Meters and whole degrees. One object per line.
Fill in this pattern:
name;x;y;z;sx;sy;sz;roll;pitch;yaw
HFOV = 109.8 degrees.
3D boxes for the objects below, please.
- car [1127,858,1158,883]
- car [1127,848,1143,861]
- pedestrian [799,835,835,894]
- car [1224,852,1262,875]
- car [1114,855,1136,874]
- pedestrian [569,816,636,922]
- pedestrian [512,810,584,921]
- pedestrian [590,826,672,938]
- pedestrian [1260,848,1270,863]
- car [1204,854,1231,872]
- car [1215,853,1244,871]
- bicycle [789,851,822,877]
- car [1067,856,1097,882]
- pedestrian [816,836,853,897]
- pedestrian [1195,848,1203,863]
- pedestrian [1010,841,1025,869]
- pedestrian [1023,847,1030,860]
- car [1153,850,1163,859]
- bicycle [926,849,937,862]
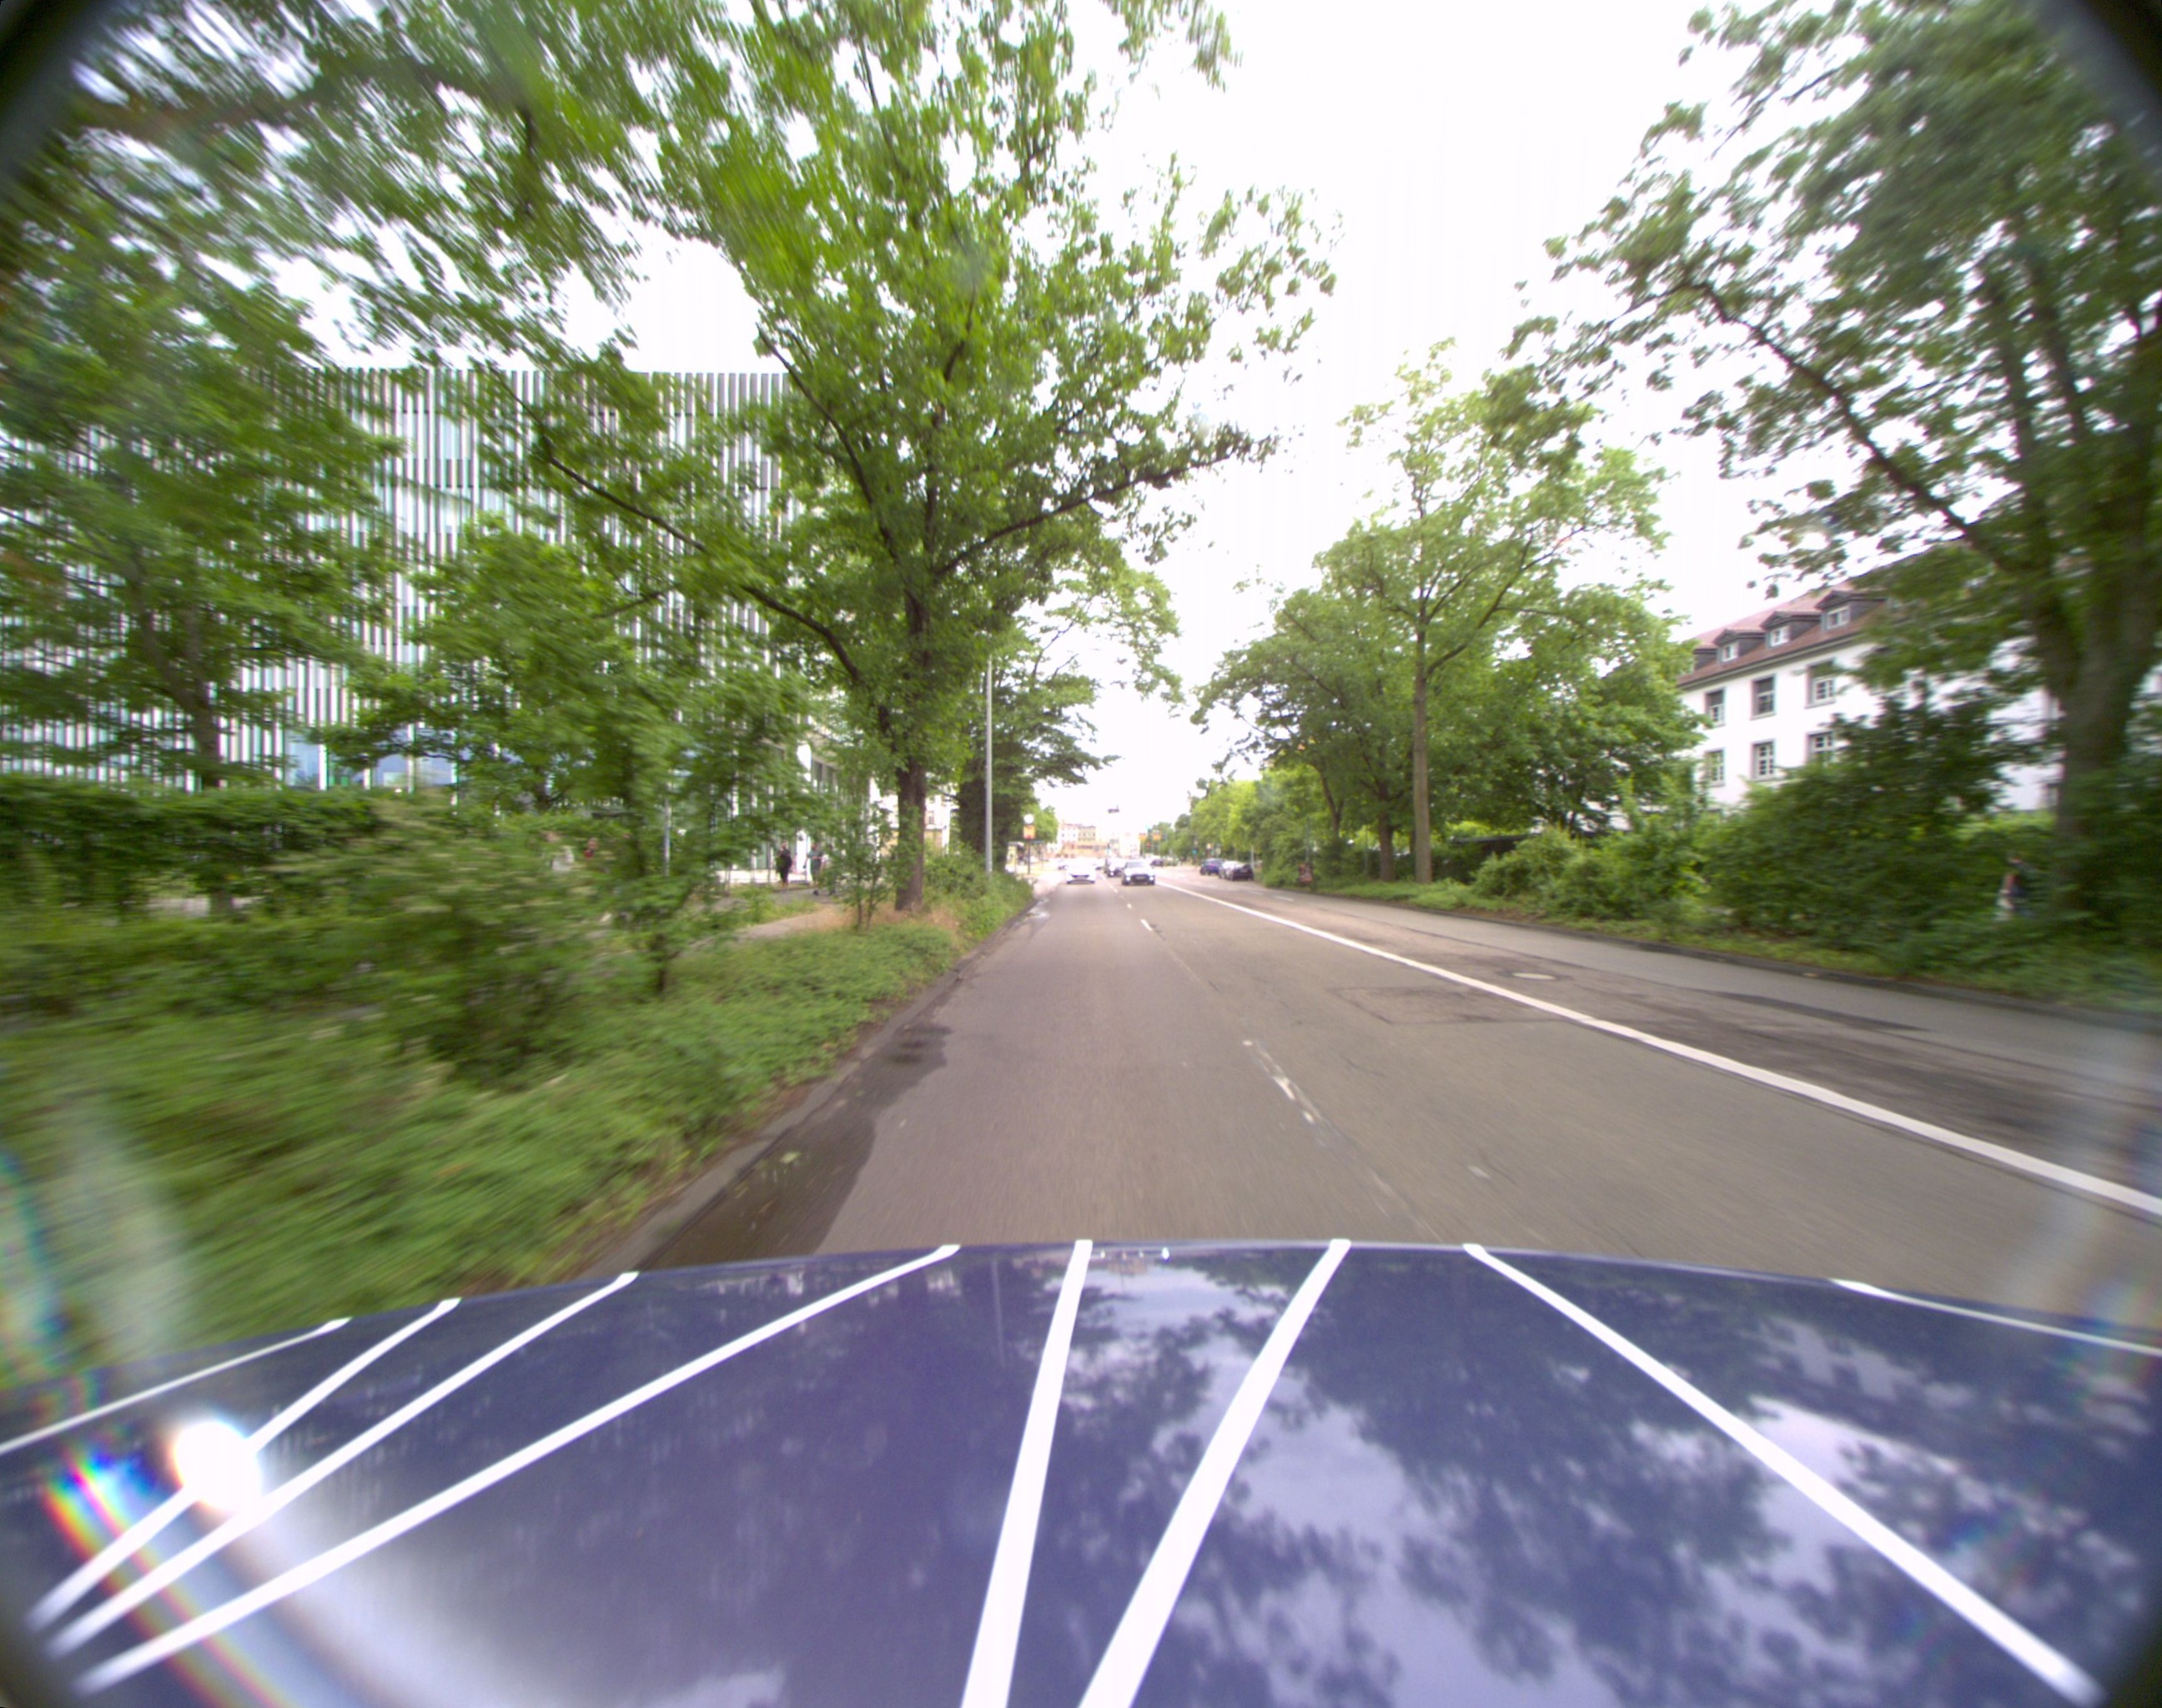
car;3.485;0.911;43.206;1.624;1.310;3.706;1;0;4
car;7.057;0.079;99.769;1.907;1.584;4.516;1;0;1
pedestrian;-9.142;0.360;26.312;0.928;2.002;1.039;1;1;-4
car;12.343;0.701;58.084;1.998;1.680;4.000;-2;0;1
car;3.609;0.829;61.805;1.731;1.450;4.001;1;0;4
pedestrian;-9.330;0.287;14.837;0.826;2.002;0.720;2;1;0
pedestrian;-9.904;0.208;14.136;0.826;2.002;0.720;1;1;0
pedestrian;-8.362;0.501;14.167;0.928;2.002;1.039;1;1;-4
pedestrian;25.071;0.177;103.457;0.796;2.002;1.095;0;1;-16
car;12.970;0.810;72.601;1.863;1.598;4.593;-1;0;2
car;12.396;0.650;63.759;1.878;1.416;4.729;-1;0;4
bicycle;-15.049;0.523;41.494;1.649;1.325;0.463;3;1;14
car;0.098;0.924;48.784;1.813;1.533;4.000;1;0;1
pedestrian;-8.271;0.416;25.514;0.928;2.002;1.039;1;1;-4
pedestrian;16.208;0.216;104.094;0.896;2.002;1.009;1;1;-1
pedestrian;-4.542;0.078;54.194;0.914;2.001;0.854;2;-1;0
pedestrian;-8.220;-0.062;114.745;0.844;2.002;0.894;1;1;2
car;15.945;0.148;157.322;1.775;1.837;4.491;-1;0;7
bicycle;-13.848;0.110;70.314;0.637;1.134;2.200;3;0;-4
